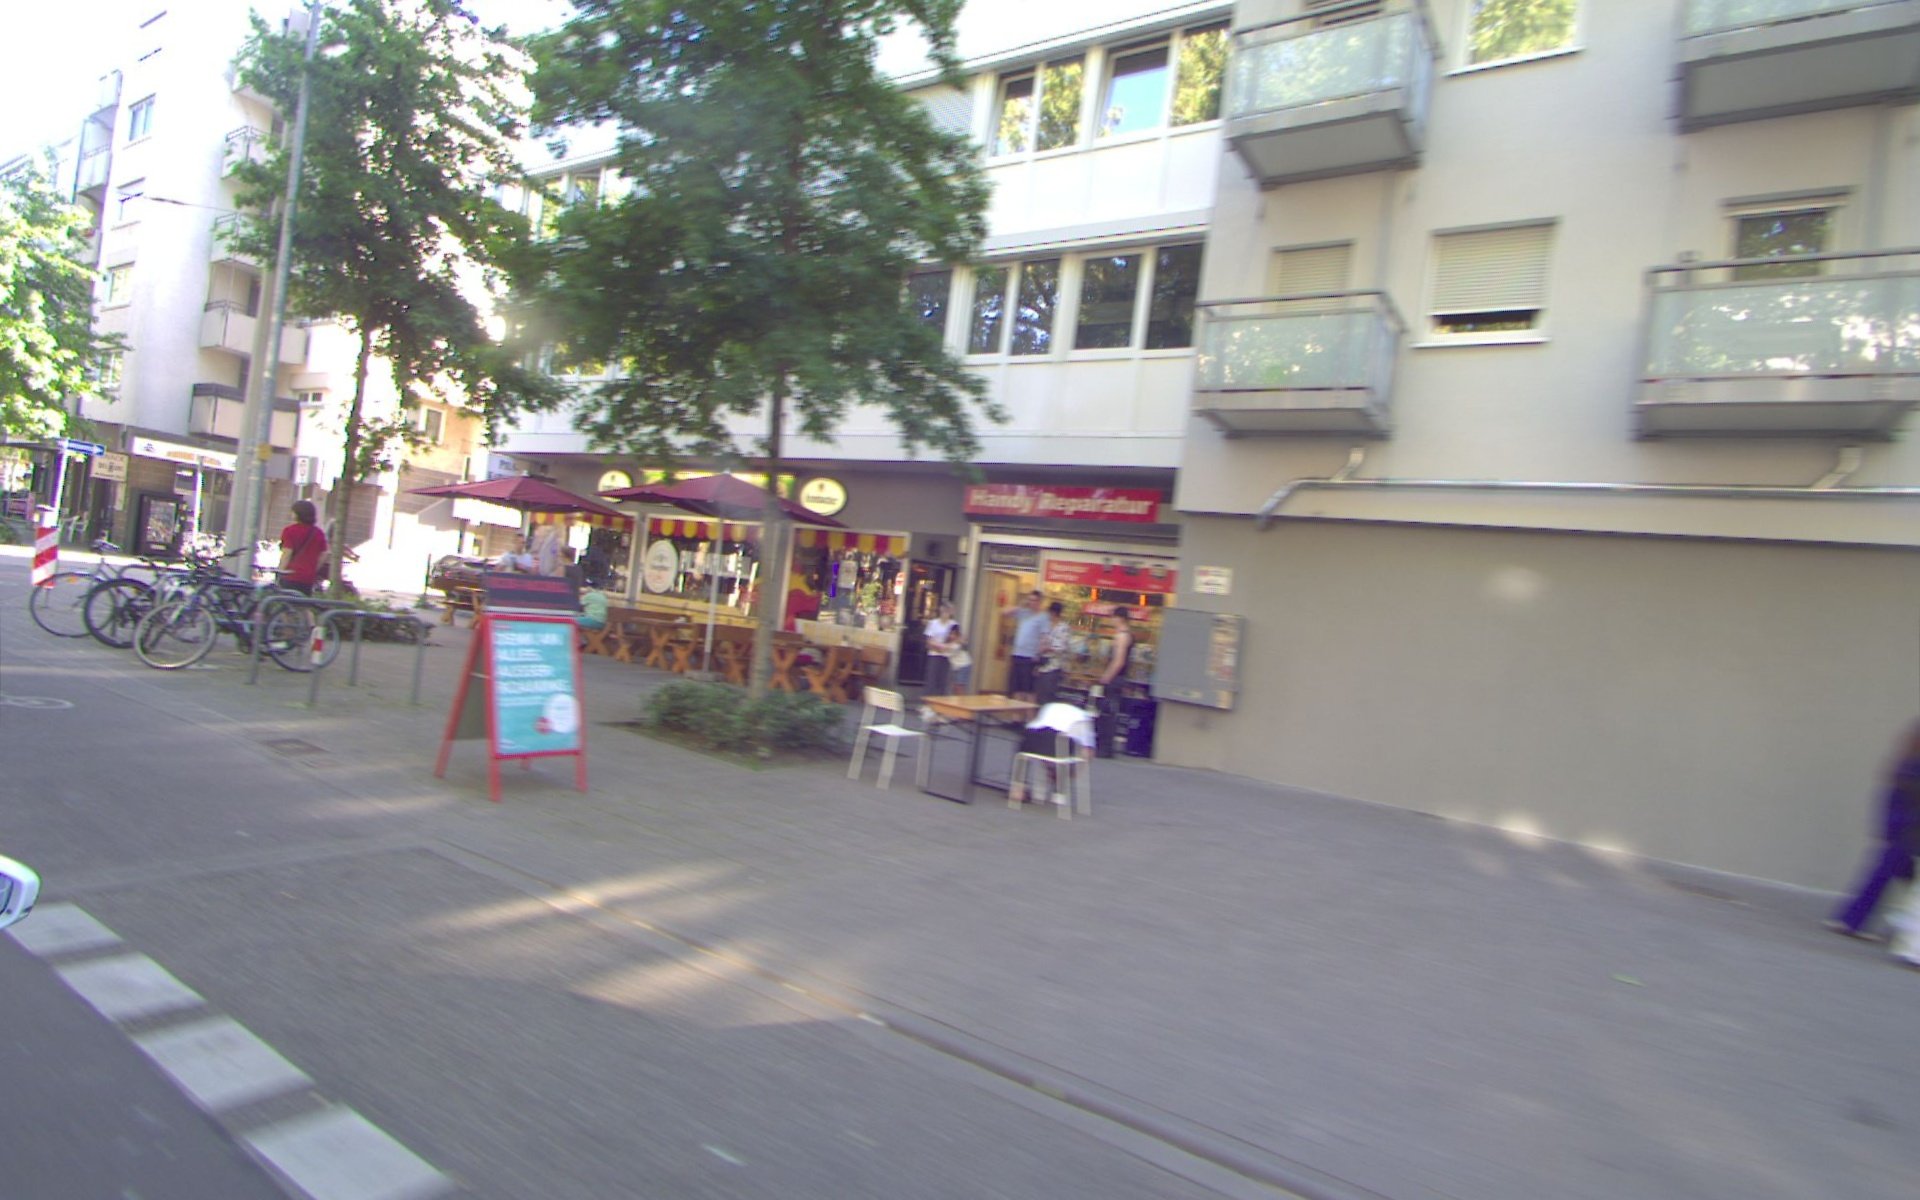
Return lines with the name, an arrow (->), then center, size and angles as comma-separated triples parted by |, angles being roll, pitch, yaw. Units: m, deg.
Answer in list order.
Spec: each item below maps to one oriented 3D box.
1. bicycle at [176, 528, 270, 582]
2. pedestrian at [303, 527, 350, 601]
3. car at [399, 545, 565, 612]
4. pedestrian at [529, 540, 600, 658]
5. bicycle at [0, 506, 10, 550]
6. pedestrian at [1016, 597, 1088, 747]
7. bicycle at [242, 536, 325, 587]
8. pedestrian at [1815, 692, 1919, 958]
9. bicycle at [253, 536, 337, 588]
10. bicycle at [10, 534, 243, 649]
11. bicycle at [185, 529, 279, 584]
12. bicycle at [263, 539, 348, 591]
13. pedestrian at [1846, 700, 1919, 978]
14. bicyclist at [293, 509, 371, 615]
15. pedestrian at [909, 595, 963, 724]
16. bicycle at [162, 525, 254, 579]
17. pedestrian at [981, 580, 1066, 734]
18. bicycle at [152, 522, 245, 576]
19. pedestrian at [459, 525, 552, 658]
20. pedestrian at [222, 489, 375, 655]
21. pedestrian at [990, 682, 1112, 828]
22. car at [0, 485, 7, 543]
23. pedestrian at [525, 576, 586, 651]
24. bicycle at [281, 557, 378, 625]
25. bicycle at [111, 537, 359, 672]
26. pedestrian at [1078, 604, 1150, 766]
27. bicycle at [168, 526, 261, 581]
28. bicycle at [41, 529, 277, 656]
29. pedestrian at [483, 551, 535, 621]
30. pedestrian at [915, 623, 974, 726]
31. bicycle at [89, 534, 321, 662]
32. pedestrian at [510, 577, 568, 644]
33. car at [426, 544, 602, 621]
bicycle -> -20.107, -1.213, 27.485 | 0.502, 1.222, 1.917 | 8, 0, 30
pedestrian -> -14.351, -0.820, 22.803 | 0.635, 1.579, 0.551 | 5, -2, 38
car -> -15.894, -0.674, 33.660 | 1.841, 1.495, 4.589 | 9, 0, 35
pedestrian -> -6.099, -0.008, 15.531 | 0.804, 1.678, 0.676 | 8, -2, -22
bicycle -> -27.463, -2.133, 27.420 | 0.672, 1.201, 2.125 | 6, -3, 42
pedestrian -> 1.172, 0.907, 12.902 | 0.518, 1.826, 0.630 | 8, -1, -13
bicycle -> -20.140, -1.140, 30.002 | 0.502, 1.221, 1.919 | 6, -3, 30
pedestrian -> 6.613, 1.547, 6.888 | 0.919, 1.699, 0.596 | 7, 1, 32
bicycle -> -19.582, -1.105, 29.664 | 0.502, 1.221, 1.919 | 7, -3, 30
bicycle -> -9.032, -0.058, 10.990 | 0.473, 1.005, 1.819 | 7, -3, 31
bicycle -> -19.661, -1.153, 27.217 | 0.502, 1.222, 1.917 | 8, 0, 30
bicycle -> -19.069, -1.016, 29.358 | 0.502, 1.221, 1.918 | 8, -1, 30
pedestrian -> 6.279, 1.522, 6.283 | 0.855, 1.658, 0.642 | 7, 2, 32
bicyclist -> -11.173, -0.681, 17.903 | 0.950, 1.737, 0.677 | 6, -2, 36
pedestrian -> -0.331, 0.797, 13.604 | 0.509, 1.647, 0.508 | 7, -1, -4
bicycle -> -20.974, -1.321, 28.108 | 0.502, 1.222, 1.917 | 7, -1, 30
pedestrian -> 0.864, 0.765, 13.690 | 0.782, 1.977, 0.505 | 6, -2, 43
bicycle -> -21.449, -1.415, 28.370 | 0.502, 1.221, 1.919 | 7, -3, 30
pedestrian -> -6.640, -0.121, 14.702 | 0.979, 1.804, 0.591 | 6, -2, 33
pedestrian -> -7.823, -0.317, 11.928 | 1.028, 1.778, 0.879 | 7, -2, 19
pedestrian -> 0.776, 1.250, 8.340 | 0.649, 1.038, 1.002 | 7, -2, 21
car -> -29.826, -2.731, 29.323 | 4.374, 1.635, 1.995 | 6, -1, 34
pedestrian -> -6.982, 0.230, 17.376 | 0.513, 1.188, 0.660 | 7, -2, 32
bicycle -> -11.215, -0.170, 17.876 | 1.991, 0.974, 0.677 | 6, -2, 36
bicycle -> -7.018, 0.082, 9.844 | 0.517, 1.113, 1.818 | 6, -2, 33
pedestrian -> 1.798, 0.988, 11.750 | 0.481, 1.816, 0.432 | 7, -2, 33
bicycle -> -20.551, -1.264, 27.762 | 0.502, 1.222, 1.918 | 8, -1, 30
bicycle -> -8.382, -0.036, 10.636 | 0.489, 1.112, 1.821 | 7, -2, 26
pedestrian -> -9.187, -0.284, 20.484 | 0.704, 1.302, 0.536 | 6, -2, 35
pedestrian -> -0.221, 0.997, 13.604 | 0.615, 1.291, 0.509 | 8, -1, -3
bicycle -> -7.798, 0.025, 10.504 | 0.473, 1.112, 1.821 | 7, -2, 26
pedestrian -> -7.471, 0.187, 17.852 | 0.513, 1.091, 0.643 | 7, -2, 32
car -> -12.735, -0.451, 29.015 | 1.933, 1.610, 4.261 | 5, -3, 28
